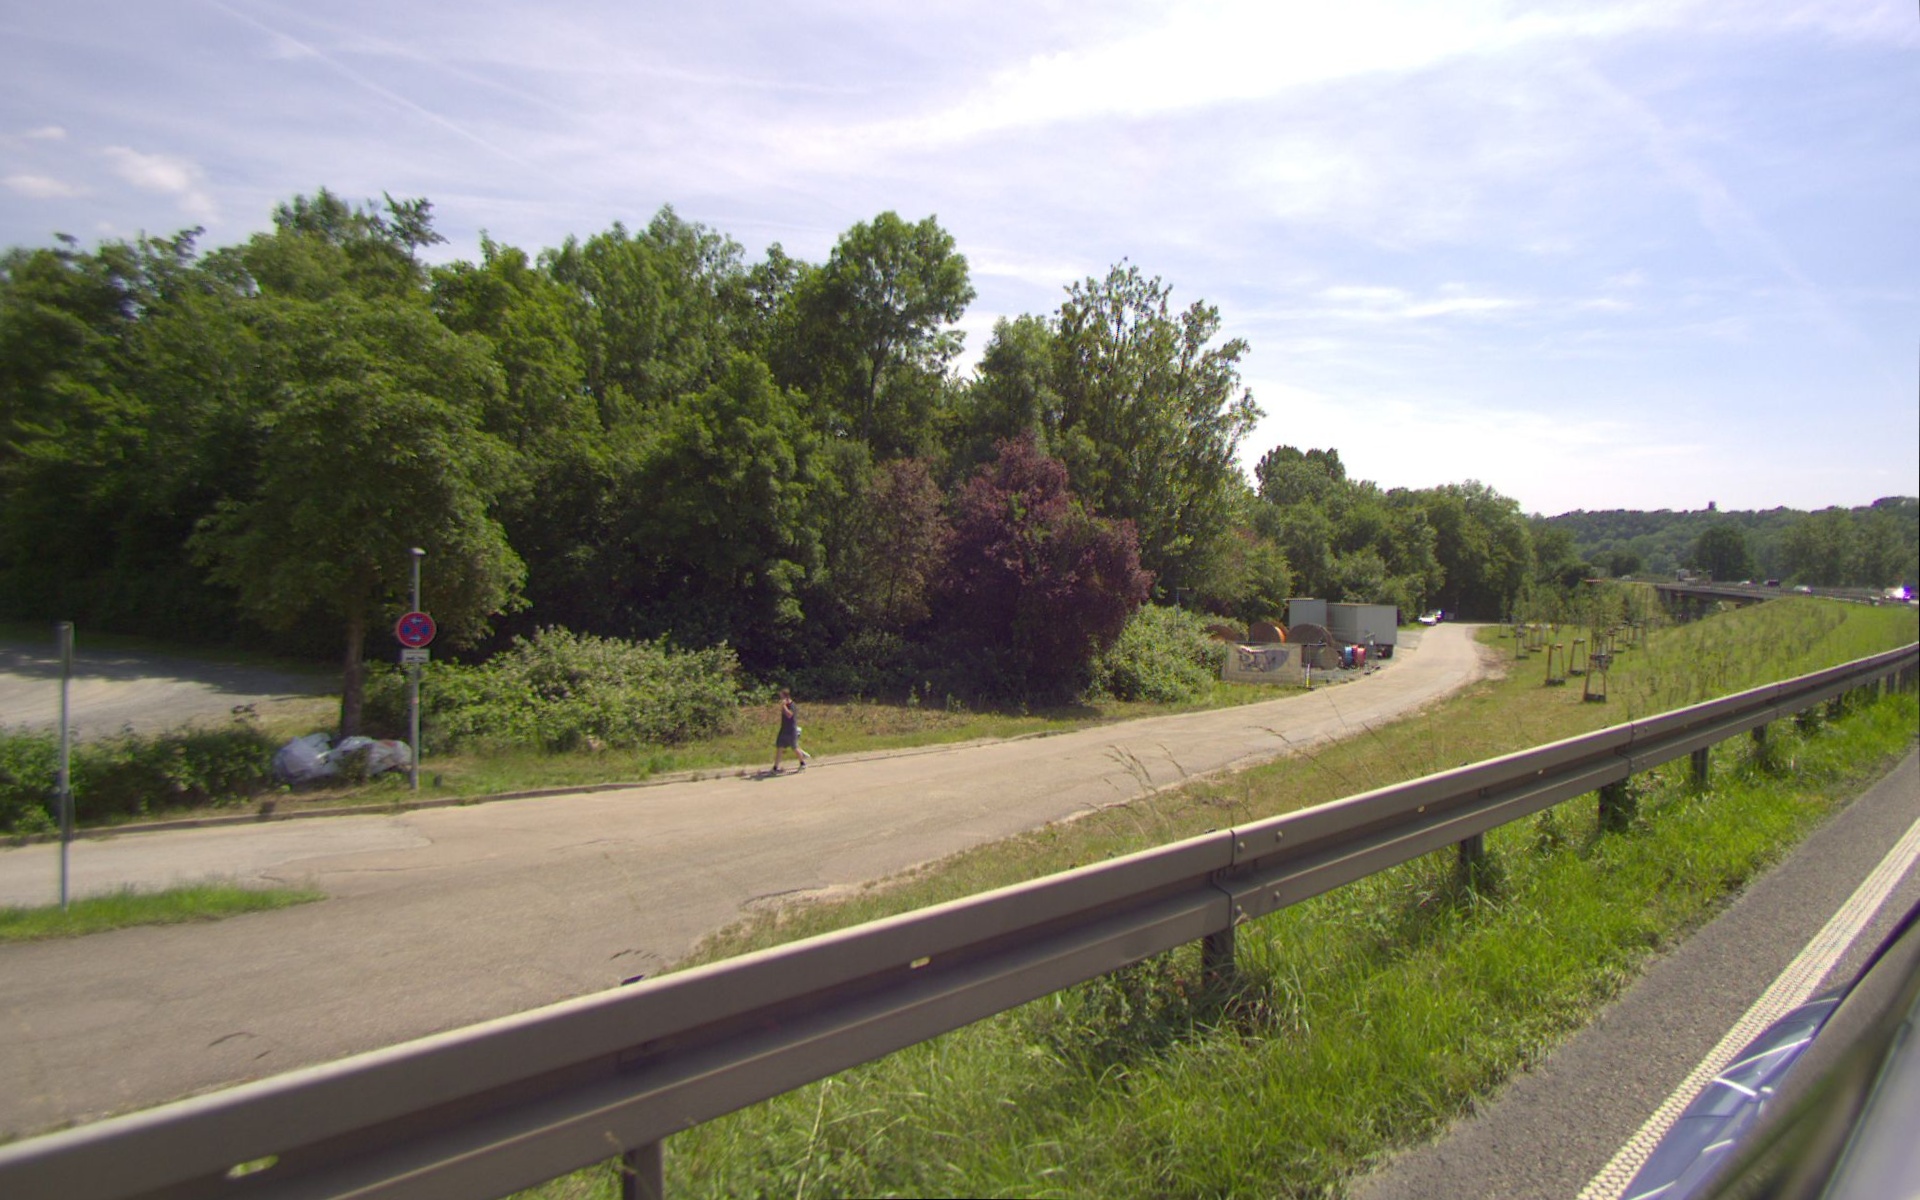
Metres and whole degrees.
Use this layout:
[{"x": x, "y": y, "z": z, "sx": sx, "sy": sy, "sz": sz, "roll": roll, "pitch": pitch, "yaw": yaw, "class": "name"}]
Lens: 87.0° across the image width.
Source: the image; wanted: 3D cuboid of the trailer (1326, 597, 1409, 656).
[{"x": 26.894, "y": 1.588, "z": 67.366, "sx": 2.683, "sy": 3.369, "sz": 11.861, "roll": 0, "pitch": 1, "yaw": 10, "class": "trailer"}]

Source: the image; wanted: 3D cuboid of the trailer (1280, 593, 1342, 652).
[{"x": 24.659, "y": 1.411, "z": 71.618, "sx": 2.685, "sy": 3.651, "sz": 11.853, "roll": 0, "pitch": 1, "yaw": 12, "class": "trailer"}]

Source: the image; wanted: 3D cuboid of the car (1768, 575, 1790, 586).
[{"x": 147.505, "y": -3.511, "z": 182.306, "sx": 1.908, "sy": 1.883, "sz": 5.131, "roll": 1, "pitch": 2, "yaw": 25, "class": "car"}]

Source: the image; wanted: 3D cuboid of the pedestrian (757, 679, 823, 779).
[{"x": -3.509, "y": 2.635, "z": 20.916, "sx": 0.943, "sy": 1.833, "sz": 0.886, "roll": 0, "pitch": 3, "yaw": -44, "class": "pedestrian"}]

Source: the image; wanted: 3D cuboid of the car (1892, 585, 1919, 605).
[{"x": 93.055, "y": -0.528, "z": 99.376, "sx": 1.972, "sy": 1.753, "sz": 3.944, "roll": 1, "pitch": 3, "yaw": 39, "class": "car"}]

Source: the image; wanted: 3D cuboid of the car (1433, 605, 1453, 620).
[{"x": 62.175, "y": 1.552, "z": 130.242, "sx": 1.850, "sy": 1.702, "sz": 4.152, "roll": 5, "pitch": 3, "yaw": 32, "class": "car"}]

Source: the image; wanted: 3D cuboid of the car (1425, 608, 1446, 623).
[{"x": 56.617, "y": 1.791, "z": 120.546, "sx": 1.848, "sy": 1.500, "sz": 4.560, "roll": 5, "pitch": 3, "yaw": 29, "class": "car"}]

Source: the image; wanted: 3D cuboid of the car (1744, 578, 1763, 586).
[{"x": 155.729, "y": -3.515, "z": 198.726, "sx": 1.753, "sy": 1.512, "sz": 4.141, "roll": 0, "pitch": 2, "yaw": 22, "class": "car"}]
